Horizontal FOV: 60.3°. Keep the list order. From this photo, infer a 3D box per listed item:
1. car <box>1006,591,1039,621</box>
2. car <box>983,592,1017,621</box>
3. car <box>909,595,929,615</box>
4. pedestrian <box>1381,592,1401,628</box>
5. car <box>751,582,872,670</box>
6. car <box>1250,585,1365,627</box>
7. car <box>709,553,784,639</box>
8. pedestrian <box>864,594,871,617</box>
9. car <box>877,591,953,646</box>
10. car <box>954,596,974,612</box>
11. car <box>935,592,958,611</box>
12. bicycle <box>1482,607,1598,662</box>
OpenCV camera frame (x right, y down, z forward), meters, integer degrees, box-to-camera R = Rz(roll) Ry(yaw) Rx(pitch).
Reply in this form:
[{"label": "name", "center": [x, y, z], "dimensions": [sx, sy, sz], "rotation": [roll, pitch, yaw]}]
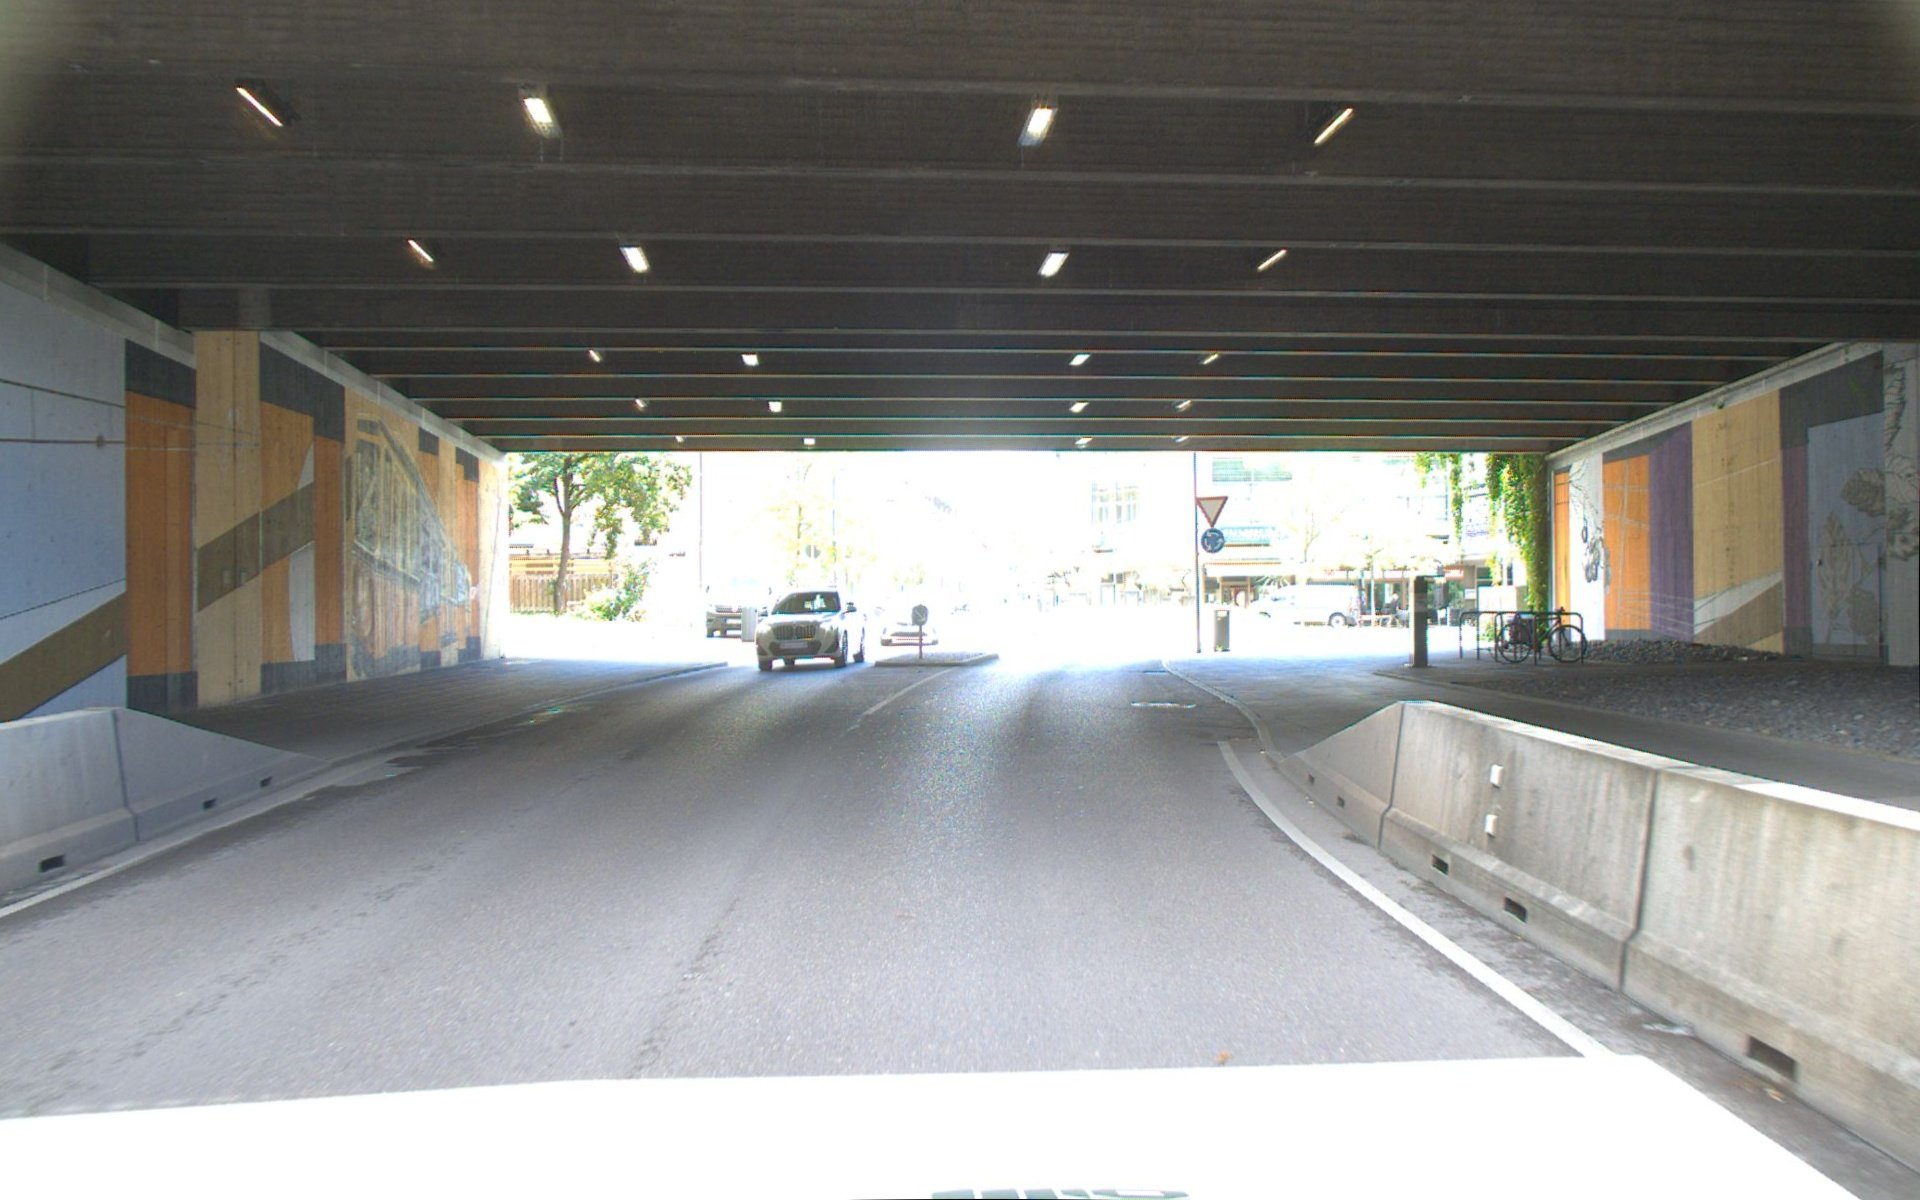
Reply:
[{"label": "car", "center": [3.884, 0.363, 101.906], "dimensions": [1.786, 1.761, 4.235], "rotation": [-2, 0, 5]}, {"label": "car", "center": [2.178, 0.342, 91.287], "dimensions": [1.787, 1.546, 4.233], "rotation": [-1, 0, 1]}, {"label": "car", "center": [-3.524, 0.419, 142.506], "dimensions": [1.675, 1.742, 3.998], "rotation": [0, 0, -2]}, {"label": "pedestrian", "center": [20.362, 0.478, 78.202], "dimensions": [0.686, 1.704, 0.613], "rotation": [0, 0, -22]}, {"label": "car", "center": [-3.043, 0.507, 34.762], "dimensions": [1.787, 1.682, 4.216], "rotation": [-2, 0, 5]}, {"label": "car", "center": [15.031, 0.272, 71.451], "dimensions": [4.581, 1.717, 2.000], "rotation": [-1, 0, 21]}, {"label": "car", "center": [-6.962, -0.135, 54.504], "dimensions": [1.928, 2.652, 5.927], "rotation": [1, 0, -3]}, {"label": "pedestrian", "center": [-6.991, 0.385, 124.807], "dimensions": [0.540, 1.715, 0.516], "rotation": [0, 0, -2]}, {"label": "car", "center": [-1.257, 0.510, 48.080], "dimensions": [1.636, 1.473, 3.855], "rotation": [-2, 0, 7]}, {"label": "car", "center": [0.338, 0.340, 146.249], "dimensions": [1.675, 1.378, 3.998], "rotation": [0, 0, -2]}, {"label": "car", "center": [-1.064, 0.093, 126.581], "dimensions": [1.675, 1.378, 3.998], "rotation": [0, 0, -2]}, {"label": "bicycle", "center": [10.437, 0.621, 29.771], "dimensions": [1.906, 0.920, 0.506], "rotation": [-2, -1, -3]}]
